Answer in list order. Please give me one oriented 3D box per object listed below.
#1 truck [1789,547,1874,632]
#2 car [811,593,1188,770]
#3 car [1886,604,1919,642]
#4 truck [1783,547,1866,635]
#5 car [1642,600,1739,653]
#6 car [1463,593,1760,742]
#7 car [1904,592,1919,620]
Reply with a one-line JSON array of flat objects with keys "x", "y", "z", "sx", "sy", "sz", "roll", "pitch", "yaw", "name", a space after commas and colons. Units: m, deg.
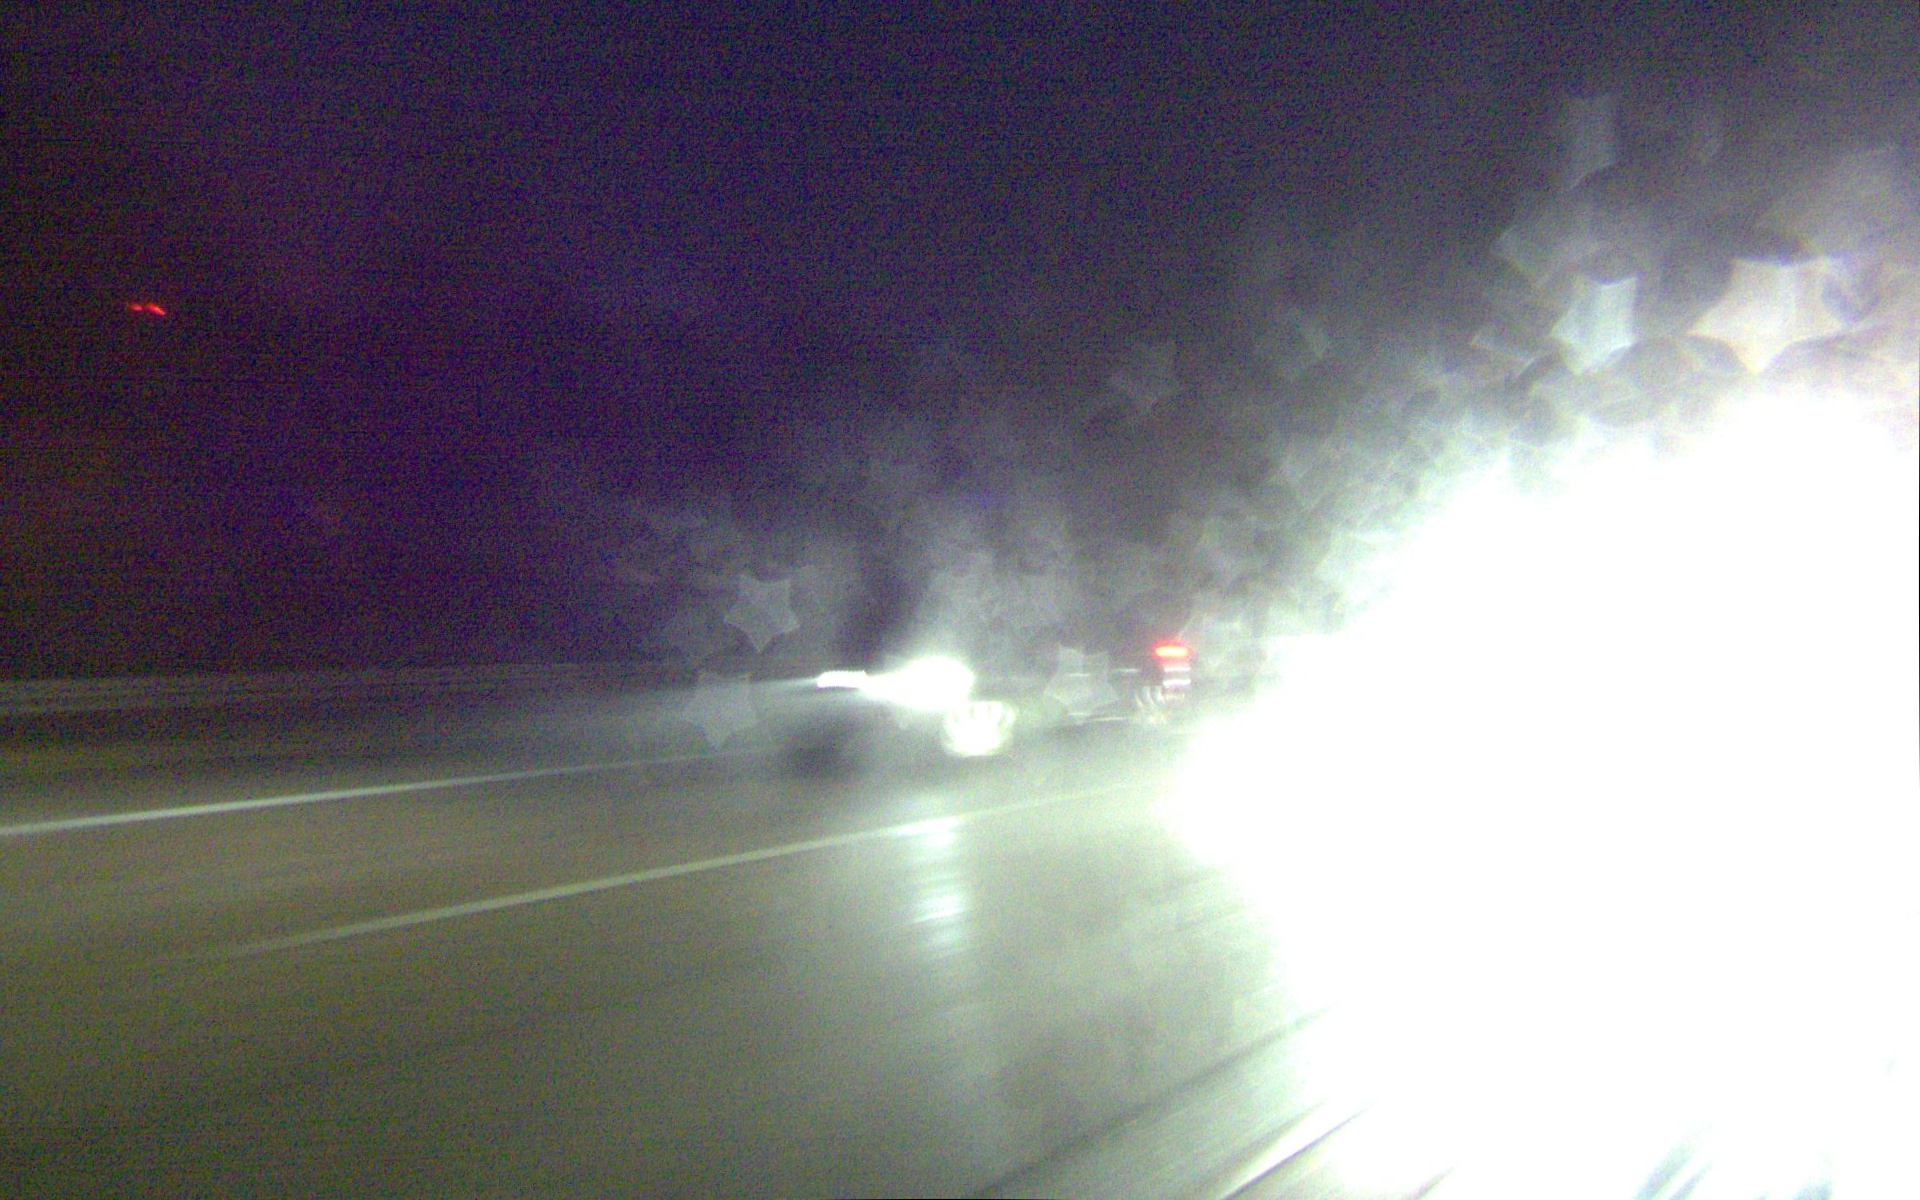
[{"x": 50.044, "y": -0.823, "z": 57.912, "sx": 2.760, "sy": 4.272, "sz": 13.612, "roll": 4, "pitch": 5, "yaw": 44, "name": "truck"}, {"x": 0.559, "y": 0.695, "z": 10.676, "sx": 3.976, "sy": 1.516, "sz": 1.721, "roll": 0, "pitch": 0, "yaw": -44, "name": "car"}, {"x": 35.851, "y": 0.889, "z": 37.843, "sx": 1.708, "sy": 1.310, "sz": 3.928, "roll": 4, "pitch": 2, "yaw": 43, "name": "car"}, {"x": 45.183, "y": -0.582, "z": 52.826, "sx": 2.760, "sy": 4.272, "sz": 6.098, "roll": 4, "pitch": 5, "yaw": 44, "name": "truck"}, {"x": 22.194, "y": 0.743, "z": 30.673, "sx": 1.789, "sy": 1.505, "sz": 4.259, "roll": 0, "pitch": 0, "yaw": 44, "name": "car"}, {"x": 7.917, "y": 0.661, "z": 12.140, "sx": 4.261, "sy": 1.467, "sz": 1.996, "roll": 0, "pitch": 0, "yaw": -42, "name": "car"}, {"x": 47.783, "y": 0.348, "z": 49.903, "sx": 1.708, "sy": 1.310, "sz": 3.928, "roll": 4, "pitch": 2, "yaw": 43, "name": "car"}]
